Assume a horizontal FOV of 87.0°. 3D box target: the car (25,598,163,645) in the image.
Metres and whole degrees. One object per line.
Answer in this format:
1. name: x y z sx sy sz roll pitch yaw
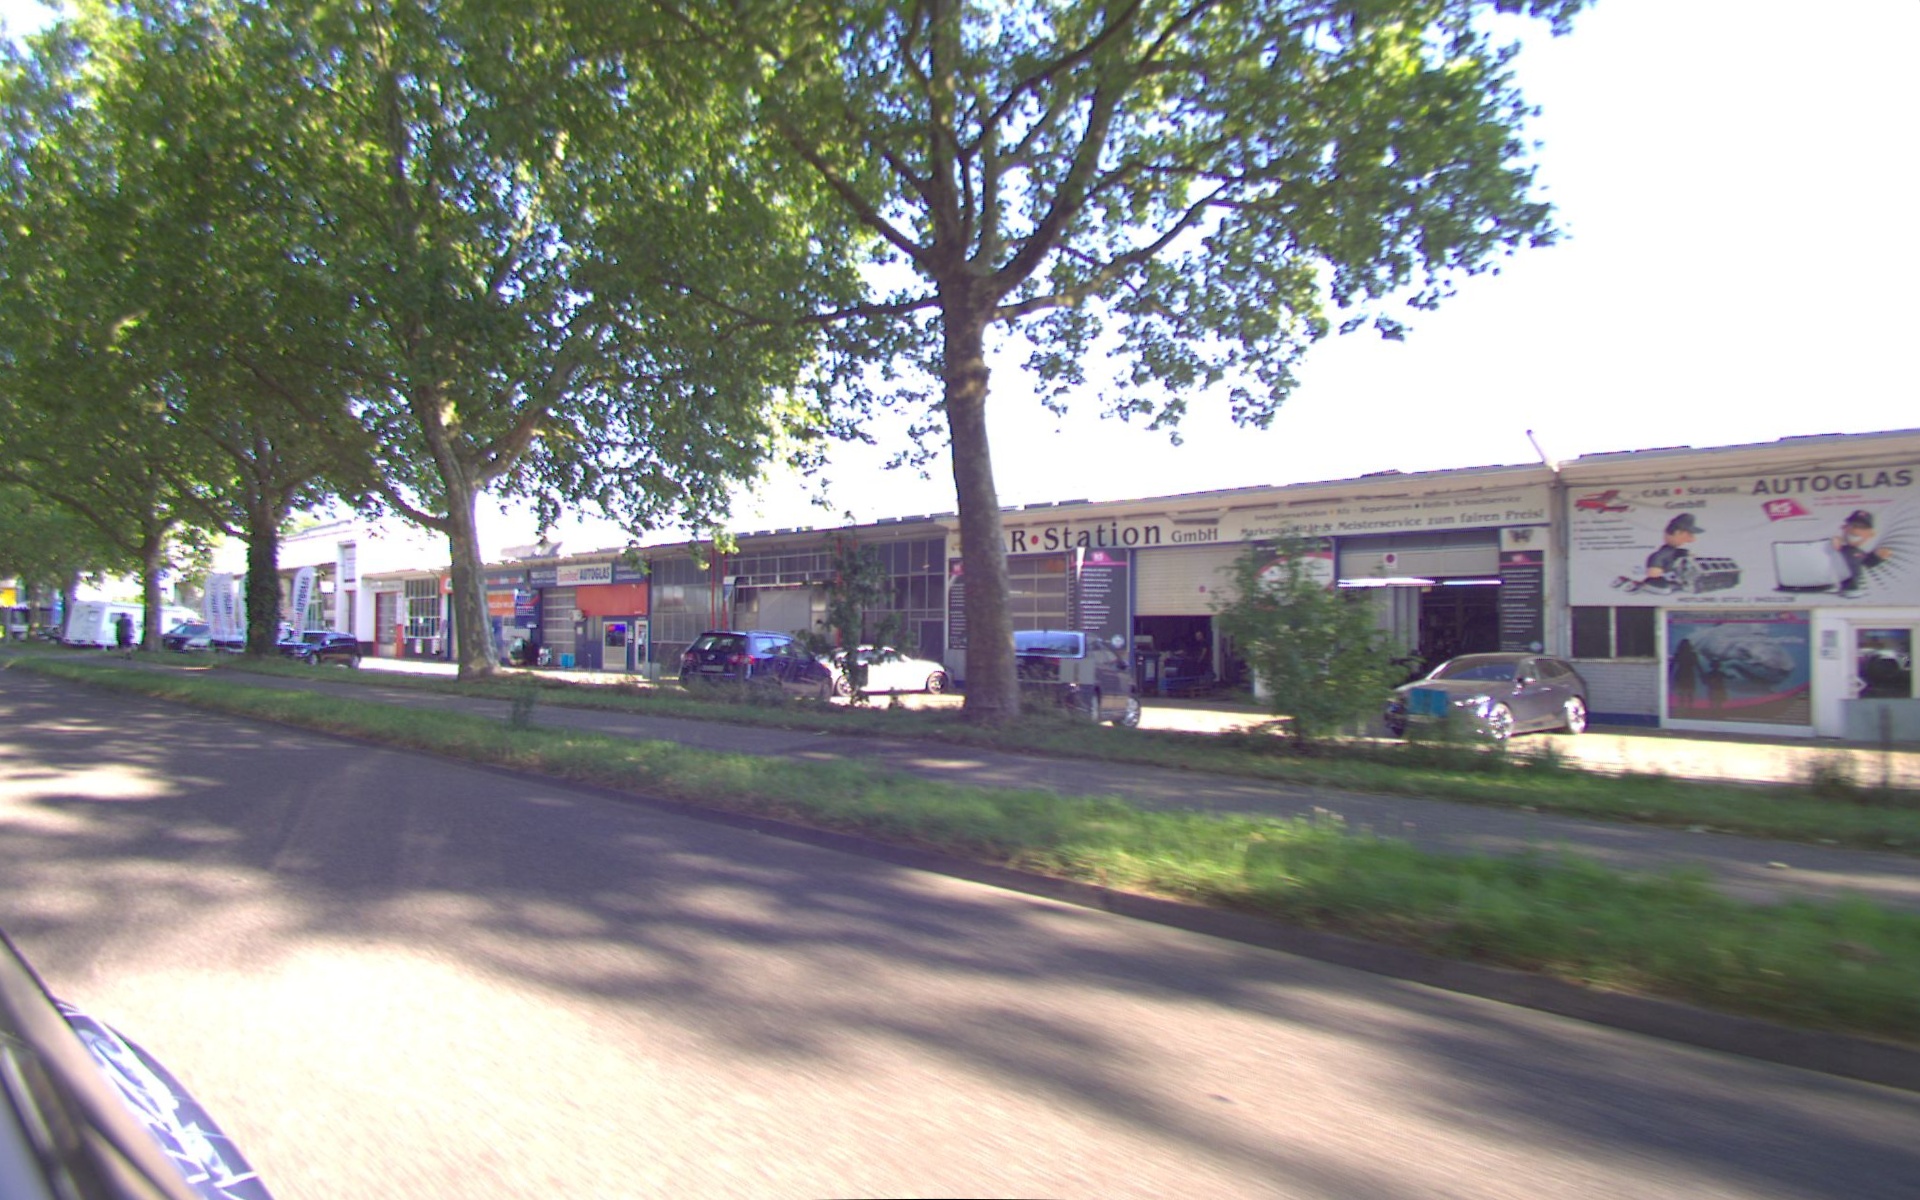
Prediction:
1. car: -54.863 1.437 64.327 2.574 2.516 6.302 0 -5 11

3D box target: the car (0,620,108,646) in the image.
1. car: -70.052 2.579 77.881 2.708 1.693 6.321 -1 -5 22

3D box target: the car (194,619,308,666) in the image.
1. car: -30.005 1.766 43.026 1.971 1.764 4.315 -1 0 -3

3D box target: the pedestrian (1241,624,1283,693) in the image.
1. pedestrian: 7.722 1.483 25.839 0.770 1.689 0.785 -1 0 41

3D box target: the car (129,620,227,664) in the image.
1. car: -36.141 1.886 46.929 1.967 1.854 4.259 -1 0 -12

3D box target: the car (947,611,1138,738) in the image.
1. car: 1.404 0.970 15.147 1.983 1.541 4.326 -1 0 17

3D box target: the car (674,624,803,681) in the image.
1. car: -7.420 1.719 33.895 3.931 1.719 2.007 -1 0 -22

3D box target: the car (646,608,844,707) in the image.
1. car: -4.332 1.086 21.339 1.983 1.773 4.872 -1 0 17

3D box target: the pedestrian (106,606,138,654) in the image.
1. pedestrian: -31.640 1.120 38.197 0.940 1.786 0.795 -1 0 43

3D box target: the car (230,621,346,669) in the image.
1. car: -24.646 1.610 37.306 1.970 1.586 3.847 -1 0 -5

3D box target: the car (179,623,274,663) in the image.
1. car: -32.553 1.878 45.076 1.967 1.582 4.061 -1 0 -12

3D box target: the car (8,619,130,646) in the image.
1. car: -67.348 2.522 76.680 2.708 1.693 6.373 -1 -5 22

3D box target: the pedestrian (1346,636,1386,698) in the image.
1. pedestrian: 10.039 1.639 25.039 0.684 1.483 0.686 0 0 -41

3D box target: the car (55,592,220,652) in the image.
1. car: -45.755 1.345 56.614 2.575 2.875 6.931 0 -5 12

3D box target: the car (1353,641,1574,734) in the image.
1. car: 9.428 1.528 18.812 4.403 1.331 2.004 -1 0 -39

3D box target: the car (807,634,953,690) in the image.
1. car: -2.416 1.814 30.387 3.931 1.453 2.007 -1 0 -22
